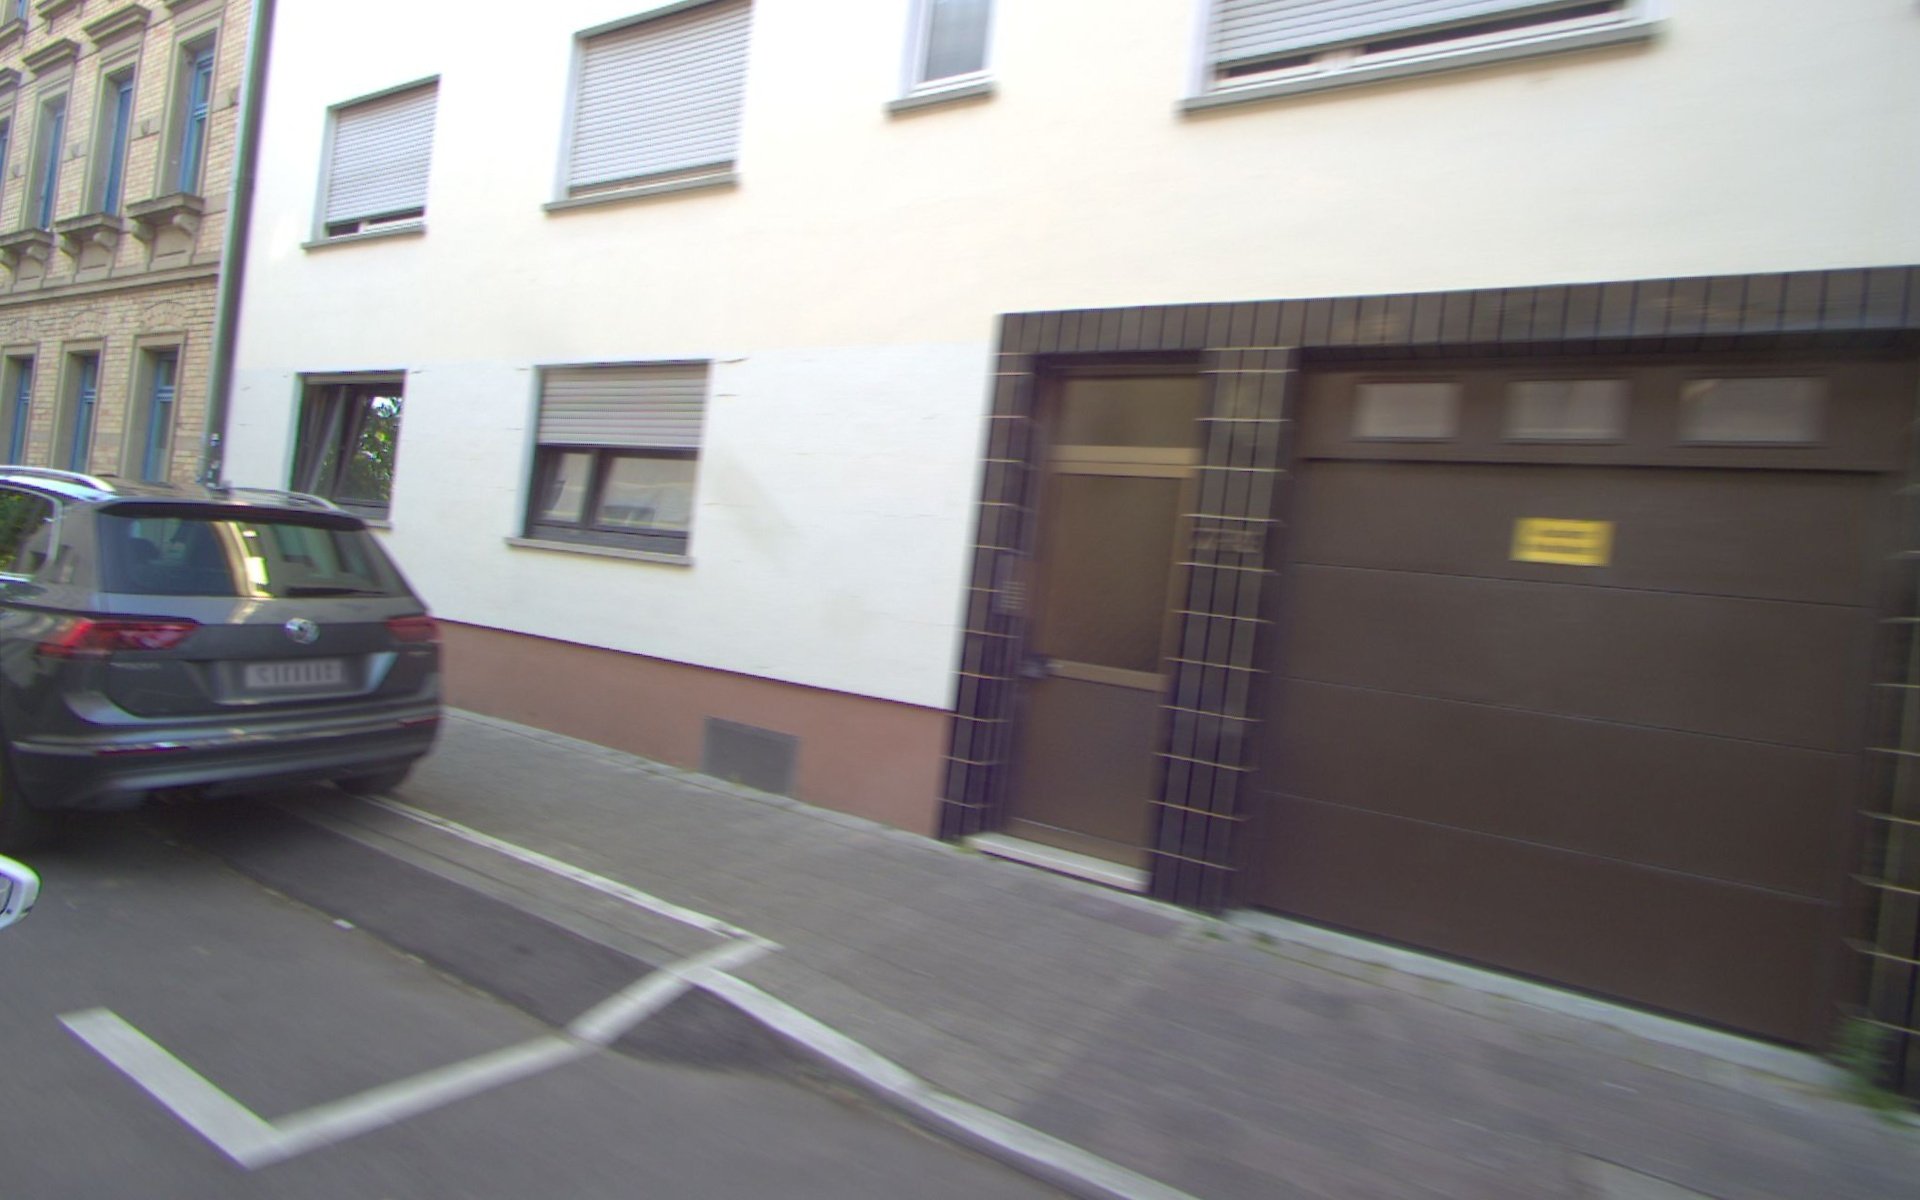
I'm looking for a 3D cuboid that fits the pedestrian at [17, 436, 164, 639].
[{"bbox_3d":[-7.702,-0.541,8.921,0.705,1.681,0.686,7,1,31],"label":"pedestrian"}]

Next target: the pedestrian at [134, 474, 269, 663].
[{"bbox_3d":[-7.230,-0.288,9.596,0.705,1.681,0.686,7,1,31],"label":"pedestrian"}]

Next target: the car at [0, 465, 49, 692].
[{"bbox_3d":[-9.191,-0.356,8.109,4.028,1.703,1.676,6,1,32],"label":"car"}]

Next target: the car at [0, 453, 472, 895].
[{"bbox_3d":[-4.767,0.097,5.536,4.179,1.650,1.676,7,3,31],"label":"car"}]
